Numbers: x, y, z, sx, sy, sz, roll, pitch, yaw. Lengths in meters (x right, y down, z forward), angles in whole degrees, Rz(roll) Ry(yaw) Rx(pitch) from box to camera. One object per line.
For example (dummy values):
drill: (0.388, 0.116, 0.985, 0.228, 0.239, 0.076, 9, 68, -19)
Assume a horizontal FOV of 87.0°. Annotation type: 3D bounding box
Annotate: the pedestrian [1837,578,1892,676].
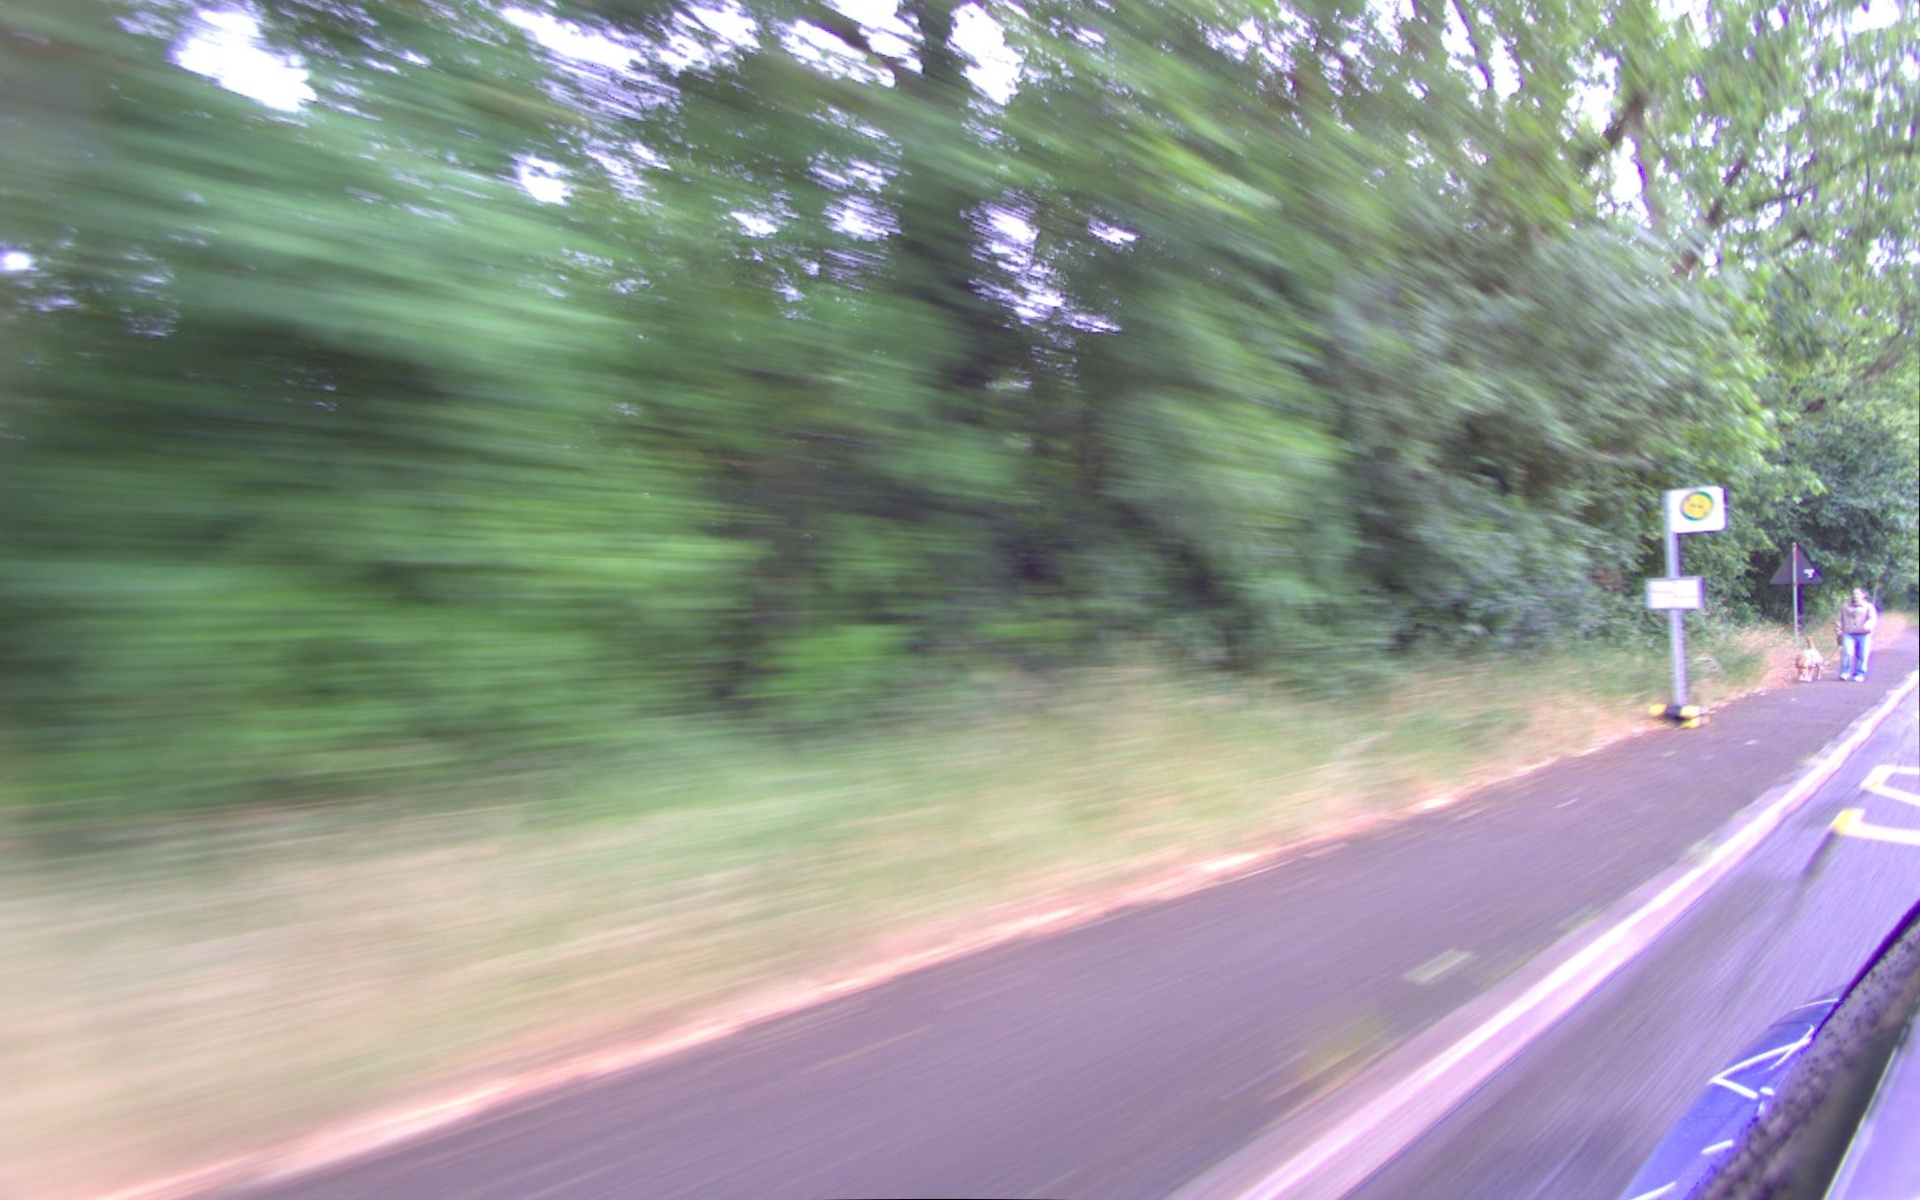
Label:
pedestrian: (15.613, 0.443, 17.470, 0.659, 1.631, 0.642, -1, 2, -44)
